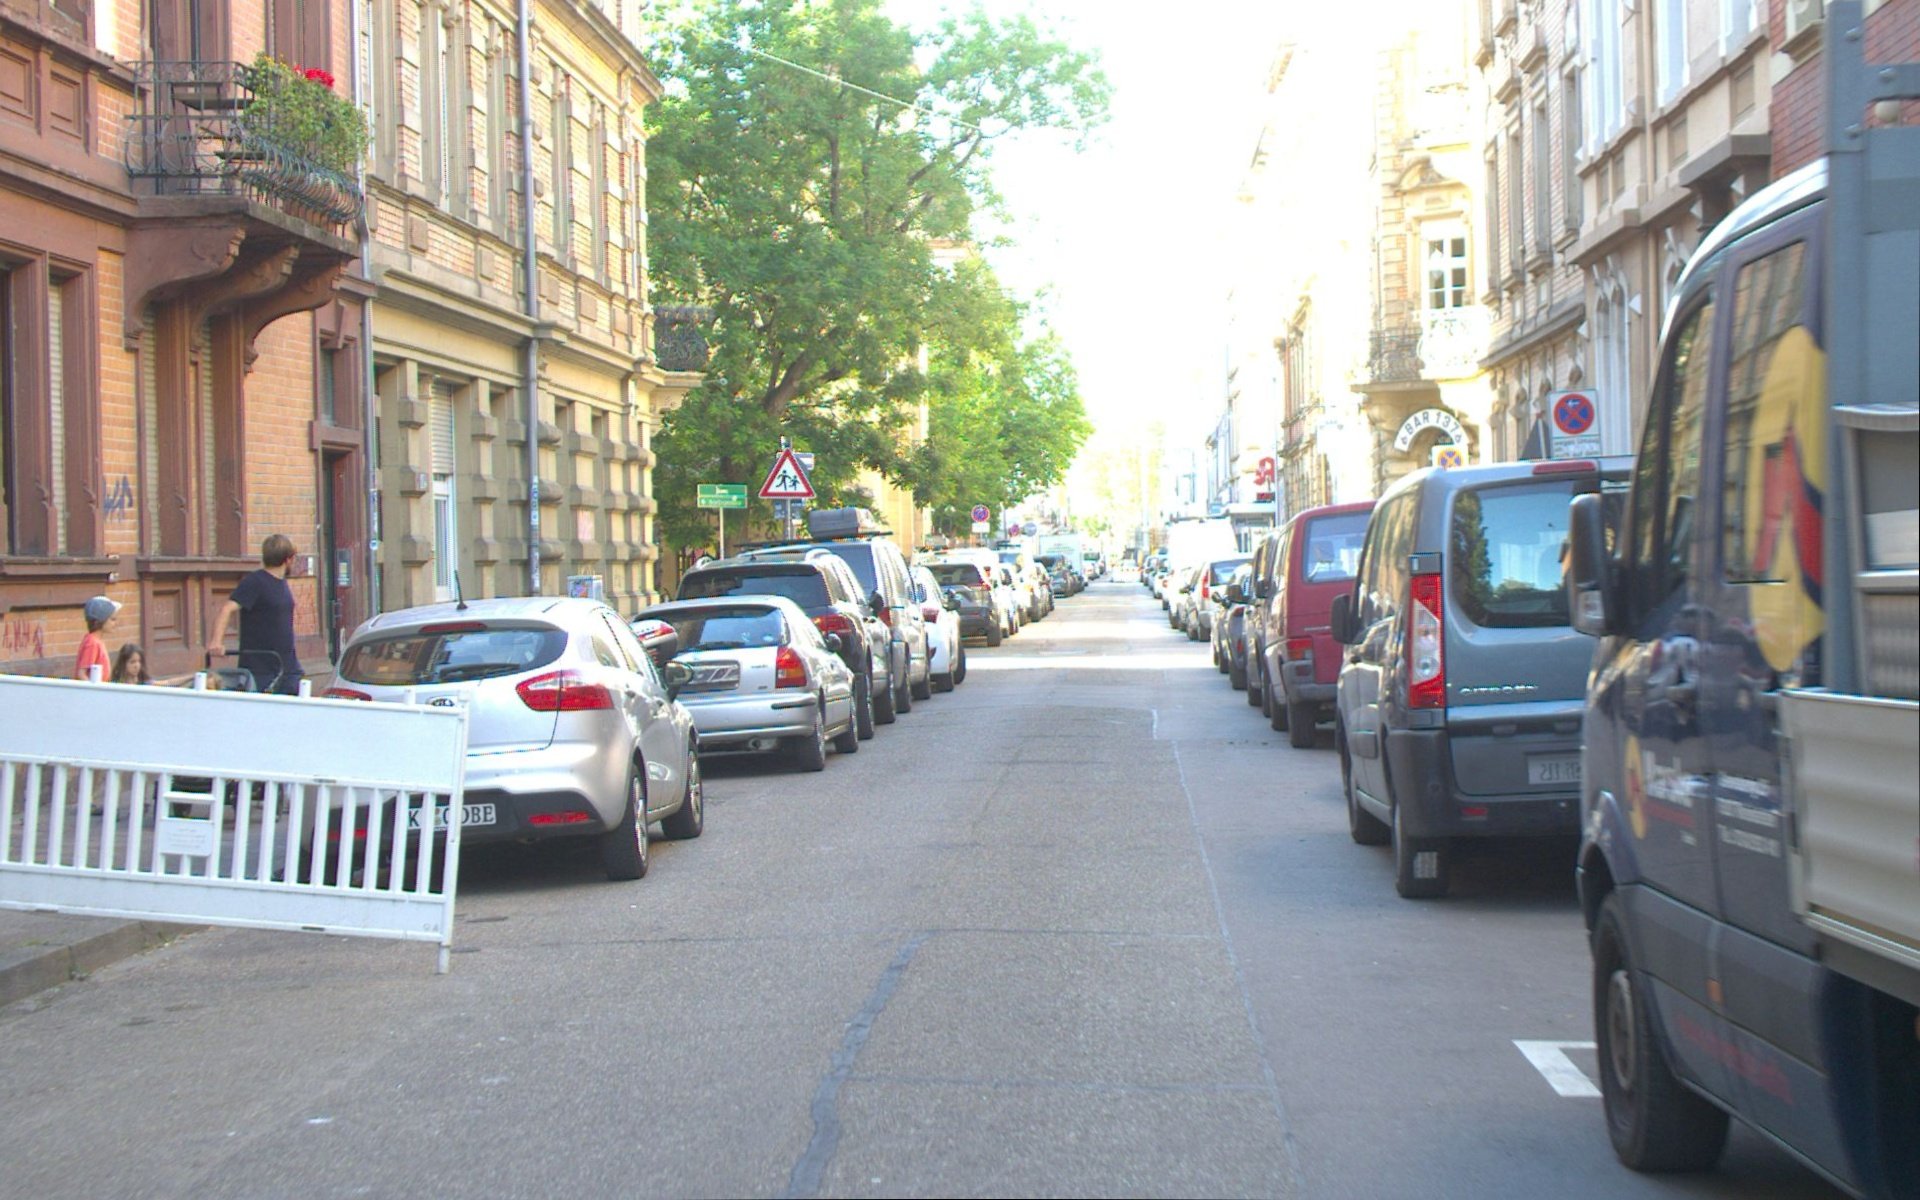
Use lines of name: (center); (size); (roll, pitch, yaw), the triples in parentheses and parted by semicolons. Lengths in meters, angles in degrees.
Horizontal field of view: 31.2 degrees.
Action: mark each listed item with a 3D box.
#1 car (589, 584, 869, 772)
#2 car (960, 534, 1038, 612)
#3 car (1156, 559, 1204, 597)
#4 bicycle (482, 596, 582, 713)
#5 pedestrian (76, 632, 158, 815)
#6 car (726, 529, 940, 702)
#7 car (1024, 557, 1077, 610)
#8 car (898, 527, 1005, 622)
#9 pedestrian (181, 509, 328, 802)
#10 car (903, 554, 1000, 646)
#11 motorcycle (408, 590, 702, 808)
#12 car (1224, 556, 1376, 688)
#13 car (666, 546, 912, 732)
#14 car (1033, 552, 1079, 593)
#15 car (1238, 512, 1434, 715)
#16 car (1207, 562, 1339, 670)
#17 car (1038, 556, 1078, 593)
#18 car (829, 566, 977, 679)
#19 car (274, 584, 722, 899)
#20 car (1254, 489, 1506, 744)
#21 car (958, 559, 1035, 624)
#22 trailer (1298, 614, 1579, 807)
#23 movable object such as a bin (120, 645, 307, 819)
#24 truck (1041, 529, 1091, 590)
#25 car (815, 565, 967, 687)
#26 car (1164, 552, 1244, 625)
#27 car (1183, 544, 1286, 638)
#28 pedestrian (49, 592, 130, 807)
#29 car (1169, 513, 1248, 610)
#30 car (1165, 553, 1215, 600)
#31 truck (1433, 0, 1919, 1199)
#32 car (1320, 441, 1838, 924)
car: (-1.754, 0.565, 27.289); (1.699, 1.309, 4.000); (2, 0, 3)
car: (1.071, -0.736, 92.527); (1.864, 1.950, 4.610); (-3, 1, 2)
car: (8.965, -0.922, 140.364); (1.898, 1.483, 3.869); (-1, 1, 3)
bicycle: (-4.367, 0.540, 35.167); (0.667, 1.121, 1.785); (1, 1, 4)
pedestrian: (-5.081, 0.739, 20.730); (0.393, 1.083, 0.432); (0, 1, -2)
car: (-1.329, 0.130, 37.863); (1.893, 1.778, 4.607); (0, 1, 4)
car: (3.012, -0.550, 113.664); (1.600, 1.609, 3.808); (-4, 0, 2)
car: (-0.140, -0.548, 70.686); (1.846, 1.856, 4.464); (-1, 1, 4)
pedestrian: (-4.356, 0.333, 21.262); (0.685, 1.759, 0.887); (-1, 1, 0)
car: (-0.131, -0.029, 65.321); (1.740, 1.641, 4.289); (-1, 1, 1)
motorcycle: (-2.758, 0.671, 23.220); (0.842, 1.355, 2.196); (-4, 1, -39)
car: (4.128, 0.232, 42.168); (1.667, 1.474, 3.887); (-1, 1, 3)
car: (-1.530, 0.315, 32.404); (1.788, 1.619, 4.607); (0, 1, 4)
car: (4.279, -1.227, 152.808); (1.876, 1.790, 4.000); (-1, 1, 3)
car: (3.800, 0.105, 35.352); (1.770, 1.954, 4.264); (0, 1, 3)
car: (4.394, 0.194, 48.775); (1.706, 1.454, 4.511); (0, 1, 3)
car: (4.948, -1.295, 174.388); (1.875, 1.790, 4.000); (-1, 1, 0)
car: (-0.734, 0.273, 47.007); (1.723, 1.476, 4.089); (0, 1, 3)
car: (-2.365, 0.675, 18.551); (1.674, 1.414, 4.000); (-3, 1, 2)
car: (3.523, 0.100, 29.543); (1.832, 2.007, 4.741); (0, 1, 3)
car: (0.939, -0.222, 86.777); (1.742, 1.581, 3.868); (-1, 1, 3)
trailer: (3.167, 0.702, 23.215); (1.505, 1.109, 3.039); (2, 1, 1)
movable object such as a bin: (-4.346, 0.754, 20.110); (0.761, 0.929, 1.415); (-1, 1, 0)
truck: (5.929, -2.265, 191.050); (2.532, 3.270, 6.994); (-1, 1, 3)
car: (-0.805, 0.281, 42.225); (1.674, 1.416, 3.874); (0, 1, 2)
car: (5.758, -0.274, 81.414); (1.808, 1.684, 4.214); (1, 0, 4)
car: (5.306, -0.194, 66.747); (1.703, 1.708, 3.938); (-2, 1, 1)
pedestrian: (-5.356, 0.605, 21.162); (0.393, 1.302, 0.432); (0, 0, -2)
car: (6.913, -1.085, 96.039); (2.068, 2.602, 5.887); (-1, 1, 3)
car: (7.521, -0.793, 112.185); (1.604, 1.499, 3.999); (0, 1, 4)
truck: (2.475, 0.048, 6.405); (2.148, 2.648, 6.253); (-5, 1, 1)
car: (2.815, 0.311, 16.608); (1.845, 1.977, 4.576); (1, 1, 3)
